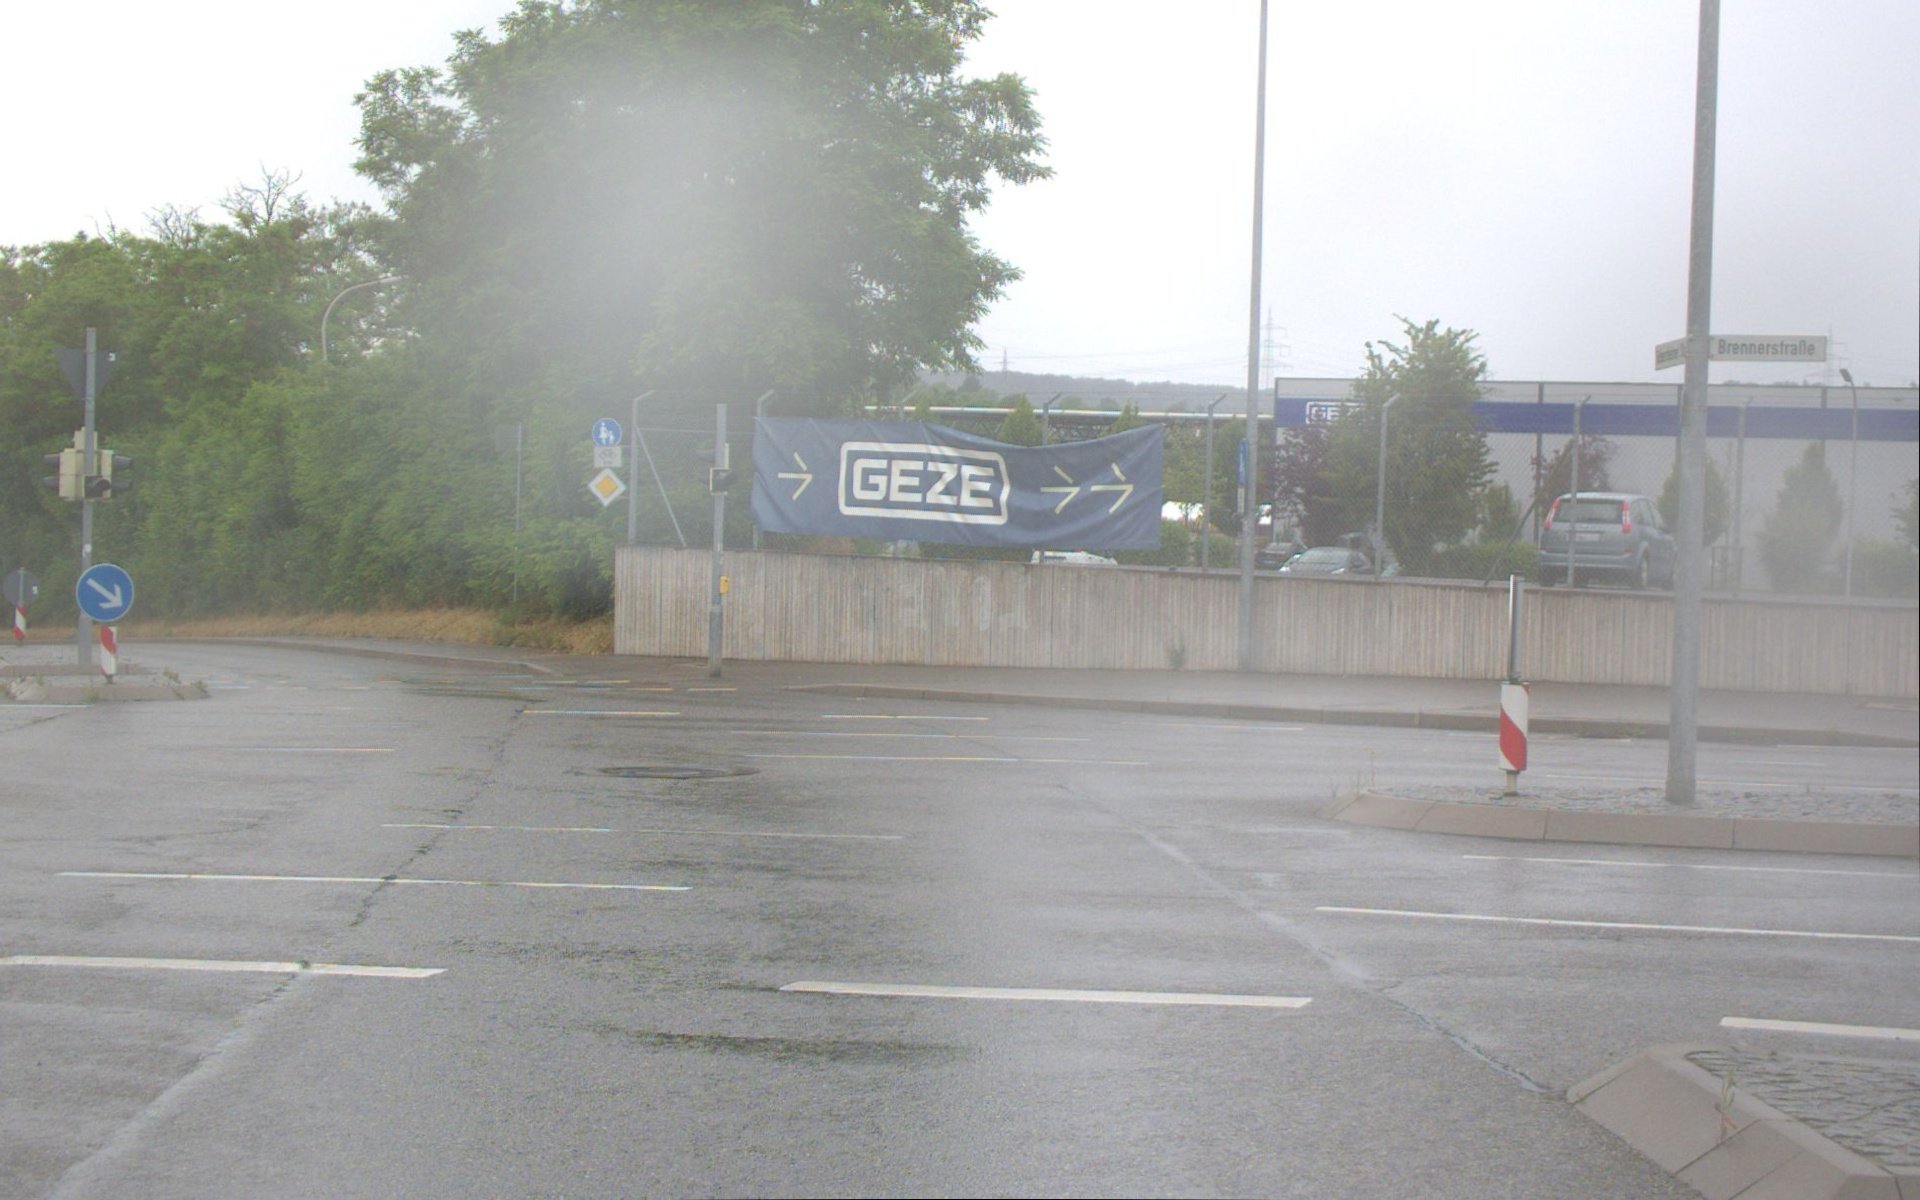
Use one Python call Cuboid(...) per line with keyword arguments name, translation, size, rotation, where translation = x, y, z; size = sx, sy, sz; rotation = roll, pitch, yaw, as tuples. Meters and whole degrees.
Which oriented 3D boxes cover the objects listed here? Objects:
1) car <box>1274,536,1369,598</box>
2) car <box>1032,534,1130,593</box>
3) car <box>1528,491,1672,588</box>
Cuboid(name="car", translation=(9.750, -0.887, 92.605), size=(1.668, 1.601, 3.527), rotation=(1, 1, 21))
Cuboid(name="car", translation=(3.395, -1.007, 95.906), size=(1.668, 1.601, 3.527), rotation=(1, 1, 21))
Cuboid(name="car", translation=(10.715, -0.993, 57.440), size=(1.744, 1.548, 3.527), rotation=(1, 1, 21))
